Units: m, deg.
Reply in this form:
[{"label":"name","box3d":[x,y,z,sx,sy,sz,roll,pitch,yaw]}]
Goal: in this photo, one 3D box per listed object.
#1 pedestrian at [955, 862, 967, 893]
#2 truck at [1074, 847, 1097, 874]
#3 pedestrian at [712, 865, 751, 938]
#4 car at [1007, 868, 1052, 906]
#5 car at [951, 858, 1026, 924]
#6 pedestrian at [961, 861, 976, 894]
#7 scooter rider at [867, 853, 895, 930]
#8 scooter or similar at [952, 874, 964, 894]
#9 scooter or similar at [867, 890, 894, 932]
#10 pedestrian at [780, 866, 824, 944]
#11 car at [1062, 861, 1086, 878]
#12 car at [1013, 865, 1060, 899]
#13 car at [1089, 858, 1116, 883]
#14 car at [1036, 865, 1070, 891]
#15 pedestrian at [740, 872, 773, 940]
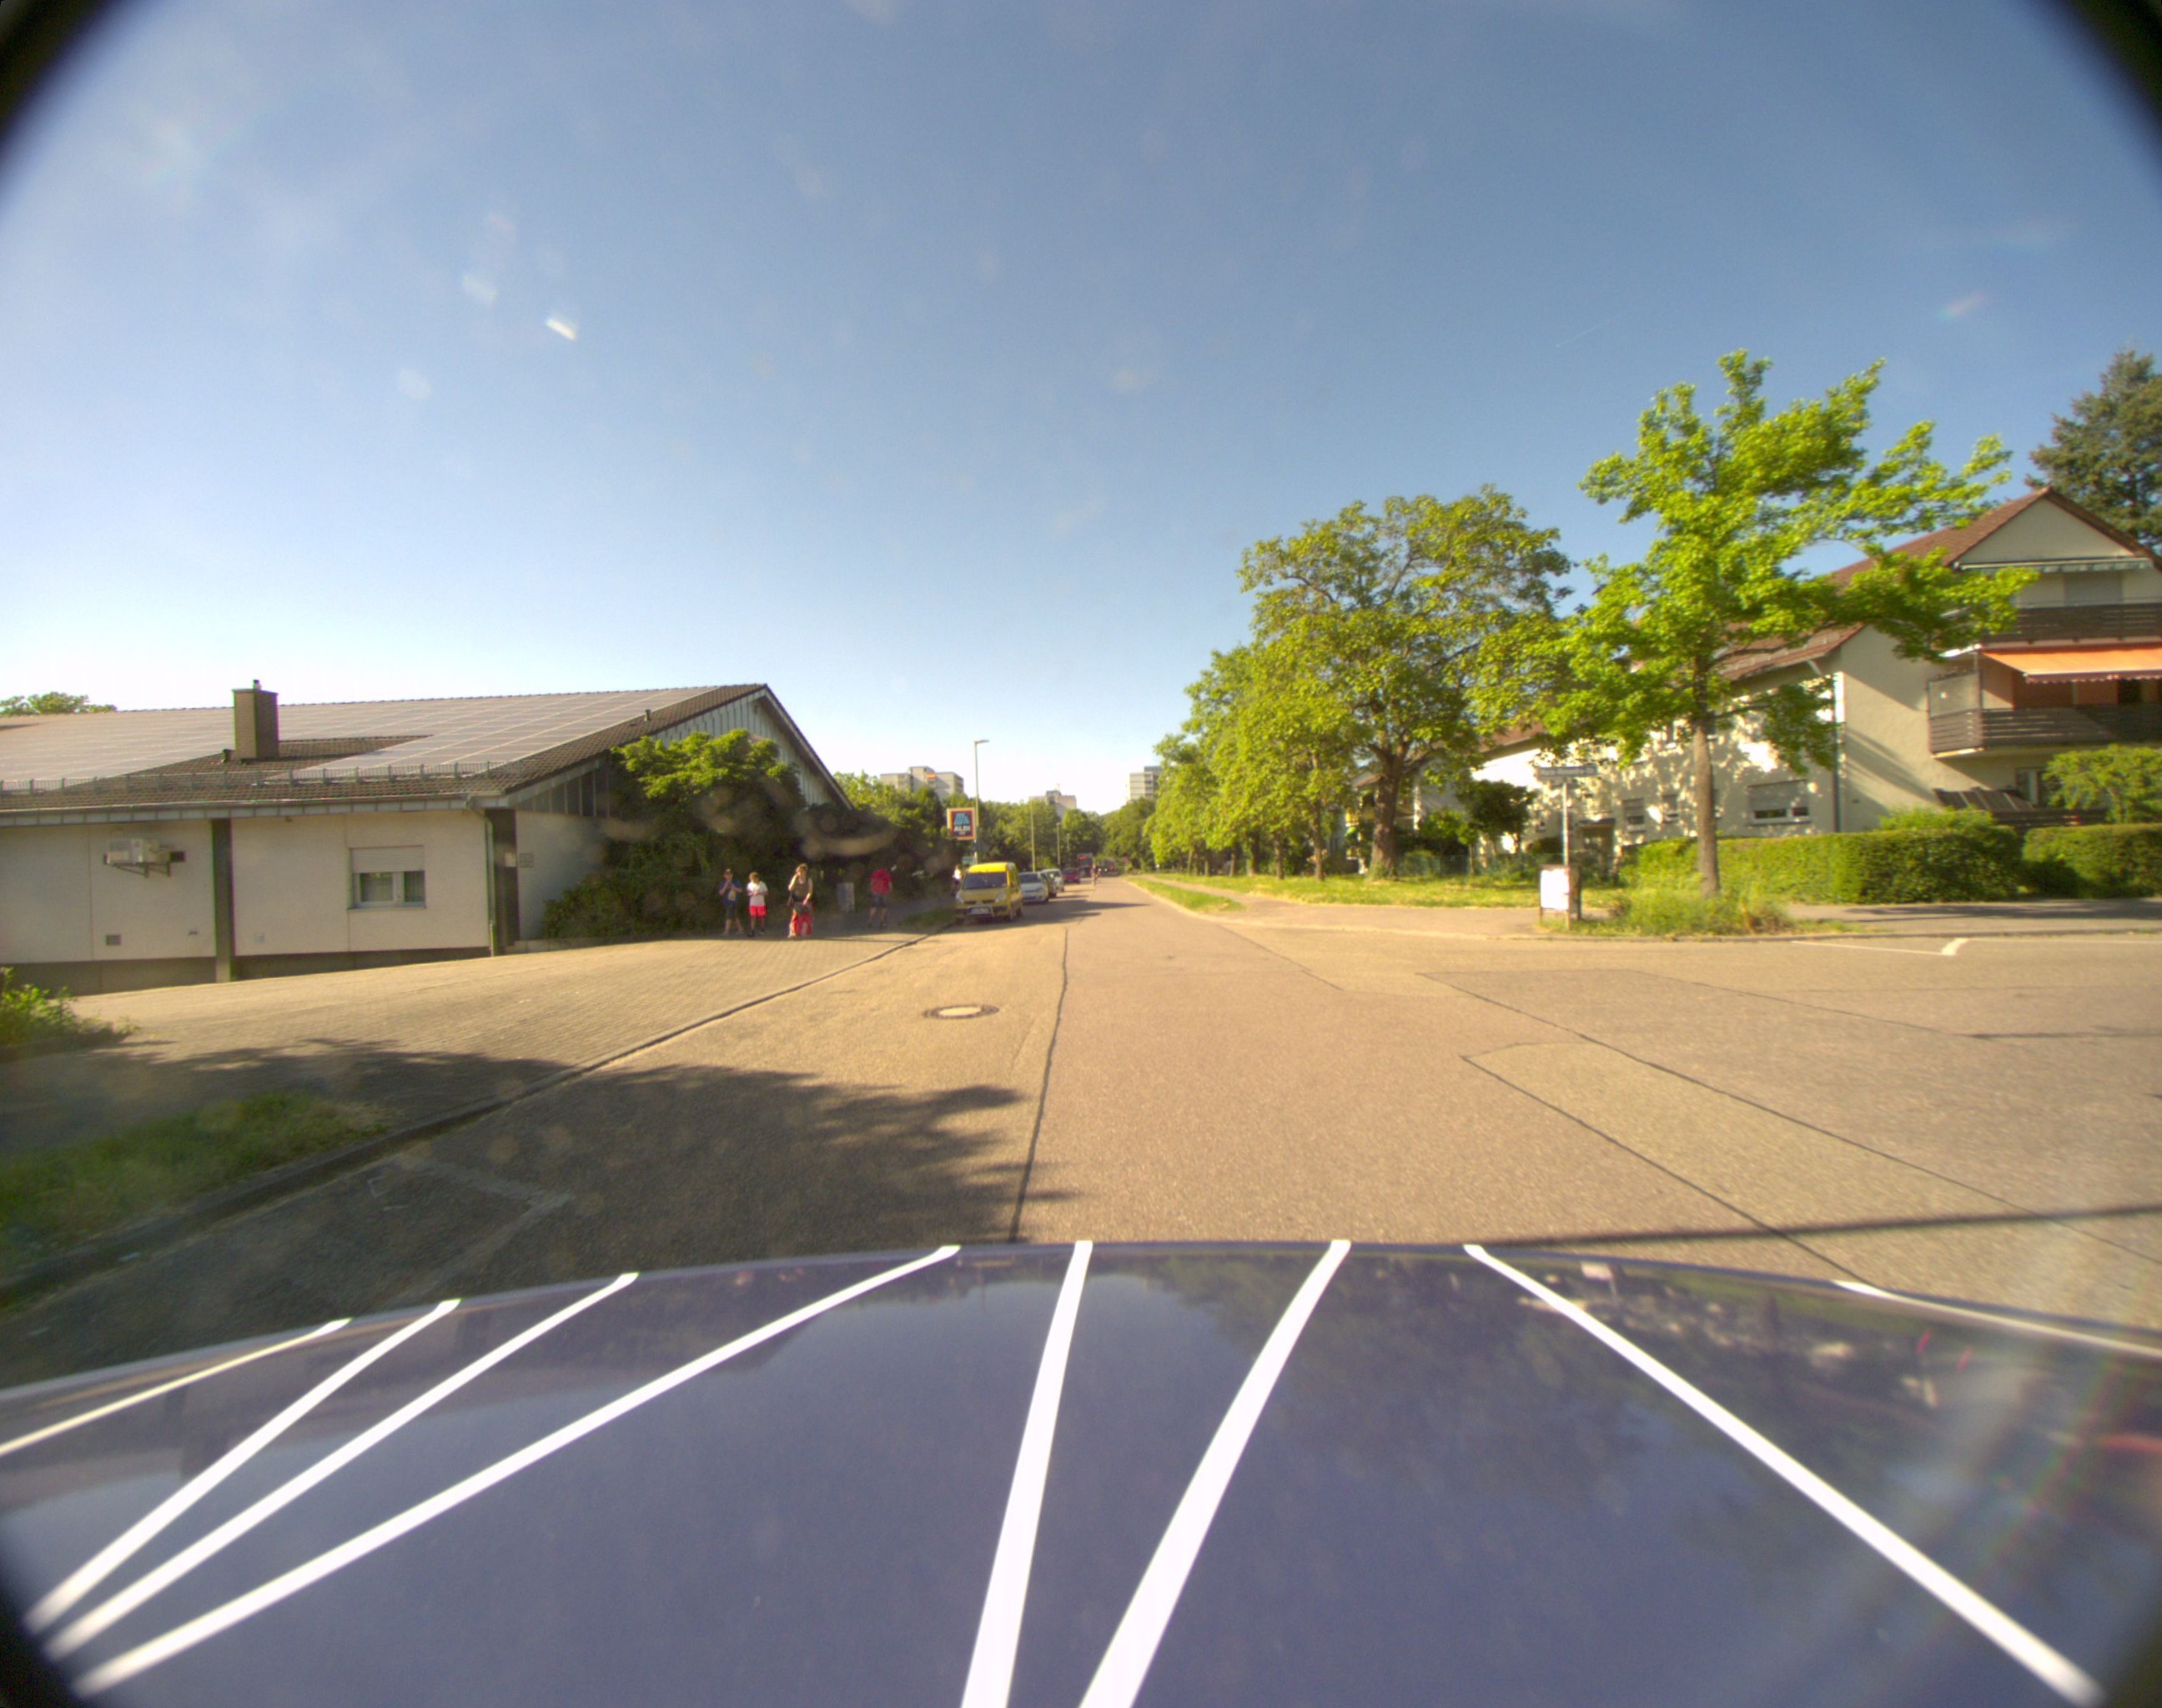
[{"label":"pedestrian","box3d":[-6.879,1.361,43.594,0.541,1.758,0.590,-2,0,1]},{"label":"truck","box3d":[0.847,1.094,133.747,3.601,4.543,10.025,-2,0,2]},{"label":"pedestrian","box3d":[-8.135,1.099,17.714,0.583,1.654,0.642,1,0,-1]},{"label":"car","box3d":[-2.287,1.467,34.891,1.621,1.478,3.982,-3,0,2]},{"label":"car","box3d":[-2.724,1.050,23.256,1.621,1.766,3.982,-3,0,2]},{"label":"pedestrian","box3d":[-6.086,1.262,41.089,0.673,1.758,0.590,-2,0,1]},{"label":"scooter rider","box3d":[-5.309,0.992,20.153,0.599,2.002,0.486,1,0,-4]},{"label":"scooter or similar","box3d":[-6.935,1.704,42.805,0.478,1.071,0.841,-2,0,1]},{"label":"scooter or similar","box3d":[-5.302,1.496,20.121,0.457,1.024,1.049,1,0,-4]},{"label":"pedestrian","box3d":[-6.217,1.122,16.970,0.635,1.679,0.896,1,0,-1]},{"label":"car","box3d":[-0.696,1.594,78.839,1.998,1.587,4.579,-2,0,4]},{"label":"car","box3d":[-2.301,1.427,40.637,1.998,1.587,4.579,-3,-1,2]},{"label":"car","box3d":[1.829,1.372,66.032,1.965,1.908,4.576,-3,1,-2]},{"label":"car","box3d":[-1.871,1.630,52.224,1.998,1.587,4.578,-3,0,1]},{"label":"pedestrian","box3d":[-7.444,1.177,17.445,0.447,1.524,0.666,1,0,-1]}]
